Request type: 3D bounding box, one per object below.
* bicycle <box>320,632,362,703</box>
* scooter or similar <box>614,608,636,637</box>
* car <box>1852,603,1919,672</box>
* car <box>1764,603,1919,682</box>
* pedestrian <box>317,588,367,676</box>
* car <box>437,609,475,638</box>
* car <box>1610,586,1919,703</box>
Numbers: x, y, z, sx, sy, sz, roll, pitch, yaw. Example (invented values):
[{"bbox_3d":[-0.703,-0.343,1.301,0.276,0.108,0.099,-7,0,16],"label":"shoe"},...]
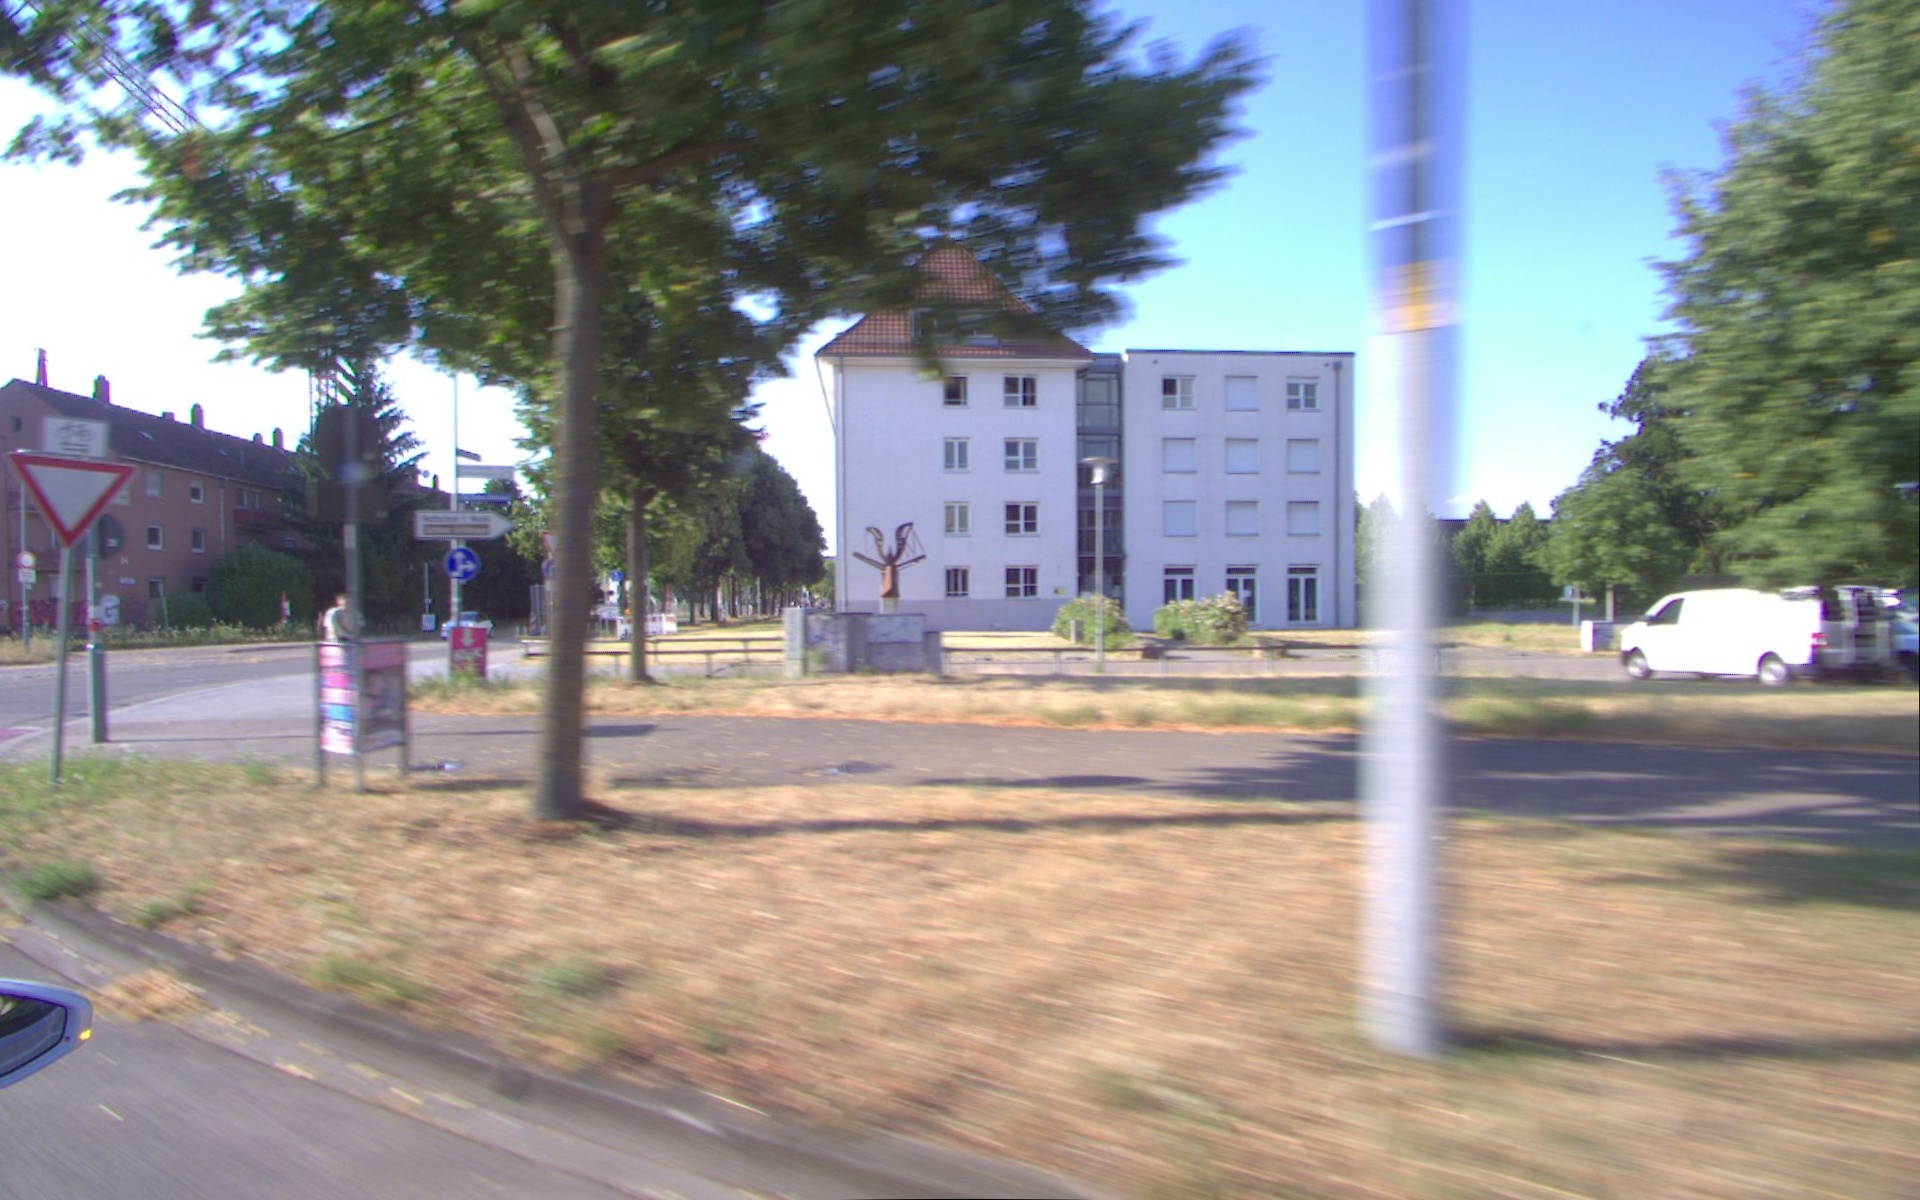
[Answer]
[{"bbox_3d":[-10.495,1.107,16.959,0.527,1.069,1.901,-3,1,-33],"label":"bicycle"},{"bbox_3d":[-14.934,0.994,44.659,0.550,1.309,1.462,0,0,-4],"label":"scooter or similar"},{"bbox_3d":[21.446,0.802,20.953,1.834,1.462,3.999,0,0,-5],"label":"car"},{"bbox_3d":[18.766,0.803,20.117,1.834,1.462,3.999,0,0,-5],"label":"car"},{"bbox_3d":[-10.341,0.519,16.746,0.644,1.410,0.763,-3,2,-33],"label":"pedestrian"},{"bbox_3d":[-26.643,1.234,53.010,1.737,1.440,3.609,1,0,-26],"label":"car"},{"bbox_3d":[16.194,0.833,20.397,2.225,2.040,5.219,-1,-1,-4],"label":"car"}]
